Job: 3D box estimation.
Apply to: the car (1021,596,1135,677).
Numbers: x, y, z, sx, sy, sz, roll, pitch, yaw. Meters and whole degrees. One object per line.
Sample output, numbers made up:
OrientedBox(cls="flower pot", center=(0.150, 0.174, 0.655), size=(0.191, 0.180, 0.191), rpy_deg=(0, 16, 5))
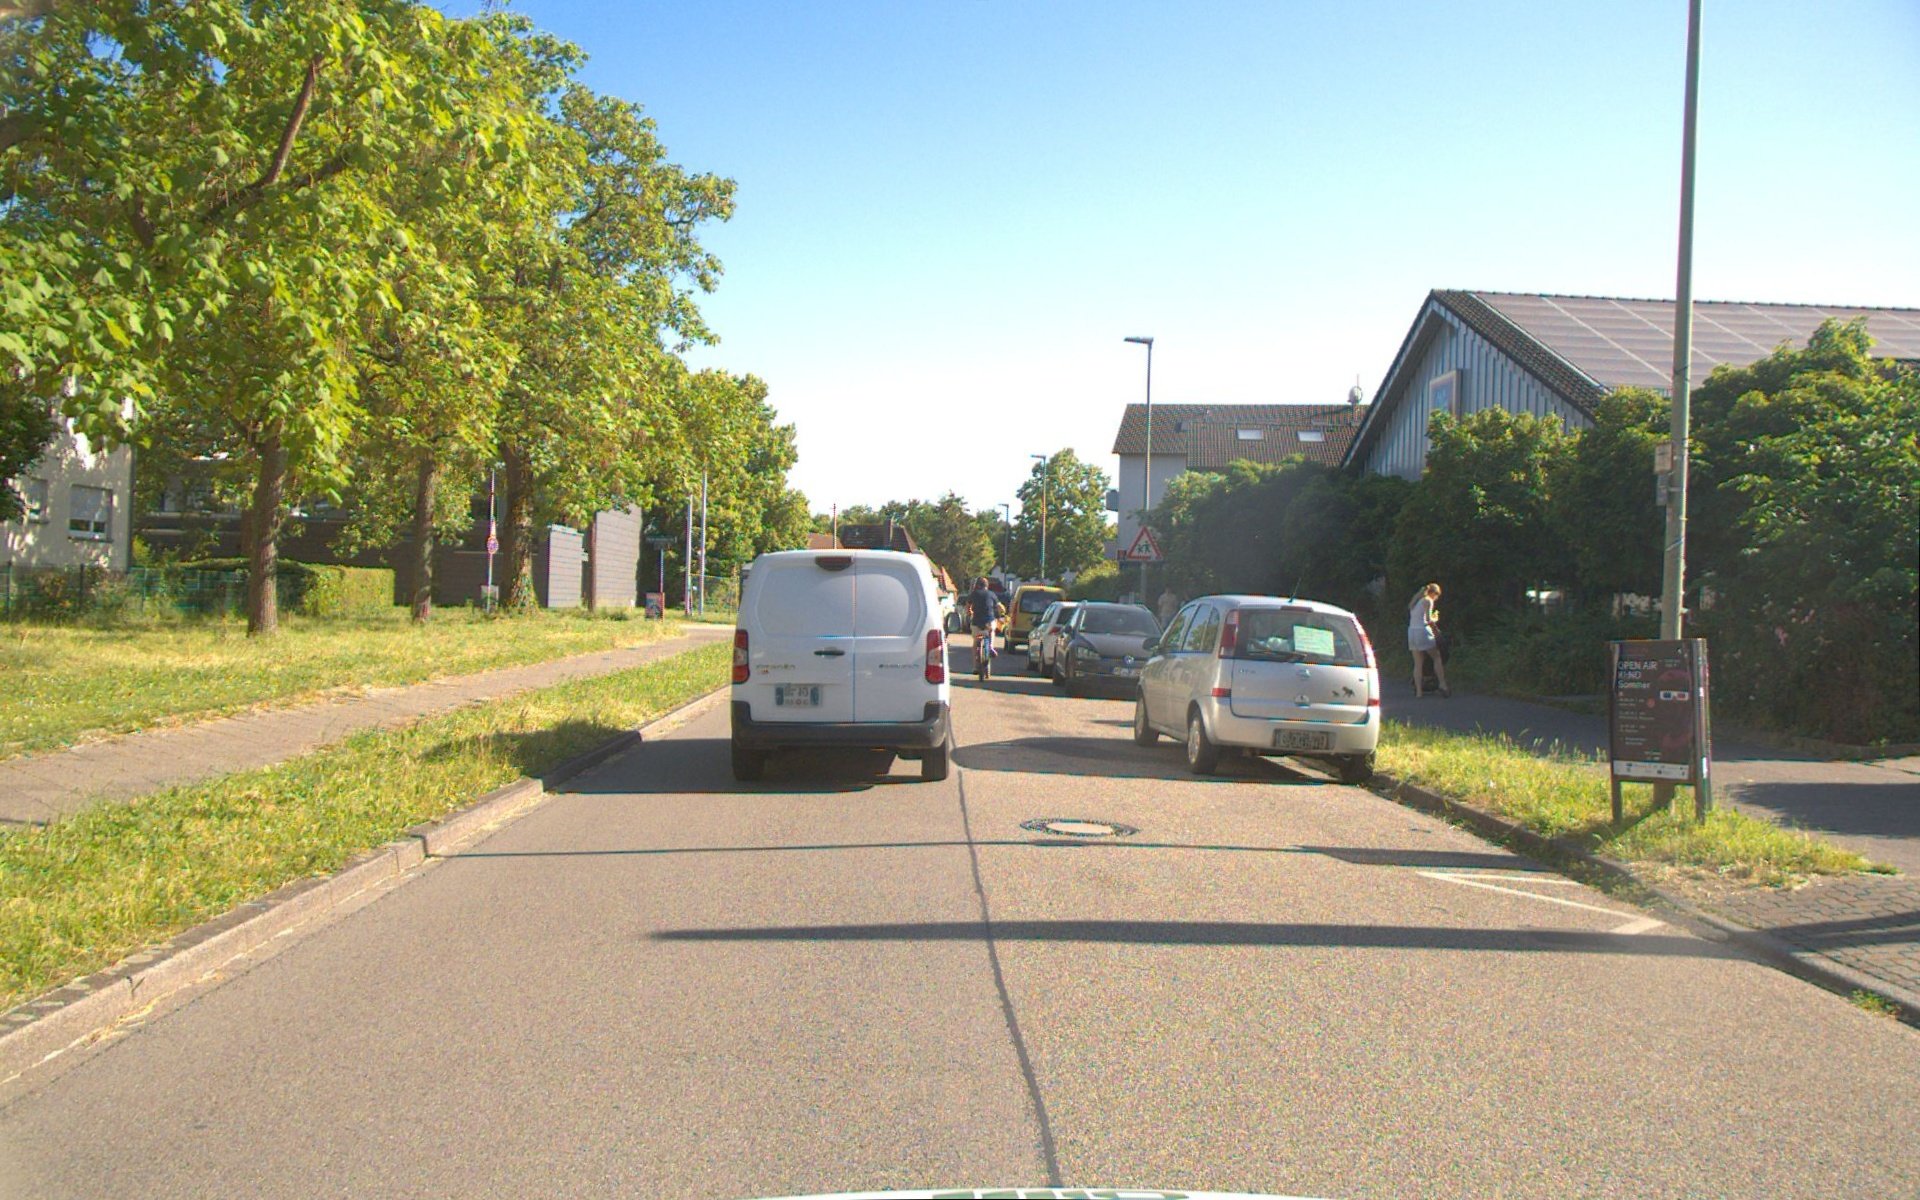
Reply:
OrientedBox(cls="car", center=(2.317, 0.692, 33.441), size=(1.790, 1.477, 3.998), rpy_deg=(2, 0, -3))

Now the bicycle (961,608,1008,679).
OrientedBox(cls="bicycle", center=(0.448, 0.749, 29.204), size=(0.770, 1.158, 2.280), rpy_deg=(1, 0, 1))

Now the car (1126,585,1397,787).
OrientedBox(cls="car", center=(2.816, 0.762, 16.331), size=(1.646, 1.627, 4.025), rpy_deg=(4, -1, -3))

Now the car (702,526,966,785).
OrientedBox(cls="car", center=(-0.968, 0.407, 14.681), size=(1.953, 1.914, 4.288), rpy_deg=(1, 0, -1))

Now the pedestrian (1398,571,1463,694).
OrientedBox(cls="pedestrian", center=(7.158, 0.487, 25.190), size=(0.781, 1.813, 0.809), rpy_deg=(1, 0, 6))

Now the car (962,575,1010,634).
OrientedBox(cls="car", center=(1.205, 0.242, 78.813), size=(1.829, 2.607, 4.764), rpy_deg=(4, -1, -3))

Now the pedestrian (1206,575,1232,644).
OrientedBox(cls="pedestrian", center=(6.383, 0.234, 40.785), size=(0.555, 1.665, 0.547), rpy_deg=(2, 0, 4))

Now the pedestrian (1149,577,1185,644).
OrientedBox(cls="pedestrian", center=(5.972, 0.309, 47.803), size=(0.779, 1.894, 0.872), rpy_deg=(2, 0, -9))

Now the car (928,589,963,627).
OrientedBox(cls="car", center=(-0.868, 0.501, 97.929), size=(1.768, 2.105, 3.997), rpy_deg=(4, -1, -3))

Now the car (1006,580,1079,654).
OrientedBox(cls="car", center=(2.205, 0.440, 44.878), size=(1.689, 1.869, 3.999), rpy_deg=(2, 0, -1))

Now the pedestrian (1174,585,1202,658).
OrientedBox(cls="pedestrian", center=(5.350, 0.501, 38.806), size=(0.555, 1.665, 0.547), rpy_deg=(2, 0, 4))

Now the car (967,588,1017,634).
OrientedBox(cls="car", center=(1.358, 0.483, 71.676), size=(1.768, 1.816, 3.997), rpy_deg=(4, -1, -3))

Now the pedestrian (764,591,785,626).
OrientedBox(cls="pedestrian", center=(-8.055, 0.370, 71.934), size=(0.500, 1.470, 0.637), rpy_deg=(4, 0, 31))

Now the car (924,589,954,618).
OrientedBox(cls="car", center=(-1.442, 0.260, 113.579), size=(1.767, 1.874, 4.000), rpy_deg=(4, -1, 2))

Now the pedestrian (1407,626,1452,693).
OrientedBox(cls="pedestrian", center=(7.385, 0.929, 26.025), size=(0.521, 0.997, 0.811), rpy_deg=(2, 0, 6))

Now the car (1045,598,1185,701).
OrientedBox(cls="car", center=(2.452, 0.743, 27.139), size=(1.771, 1.468, 4.362), rpy_deg=(2, 0, -1))

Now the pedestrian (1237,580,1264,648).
OrientedBox(cls="pedestrian", center=(7.139, 0.340, 40.655), size=(0.555, 1.665, 0.547), rpy_deg=(2, 0, 4))

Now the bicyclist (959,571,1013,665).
OrientedBox(cls="bicyclist", center=(0.456, 0.319, 29.288), size=(0.887, 1.612, 0.966), rpy_deg=(2, -1, 0))
